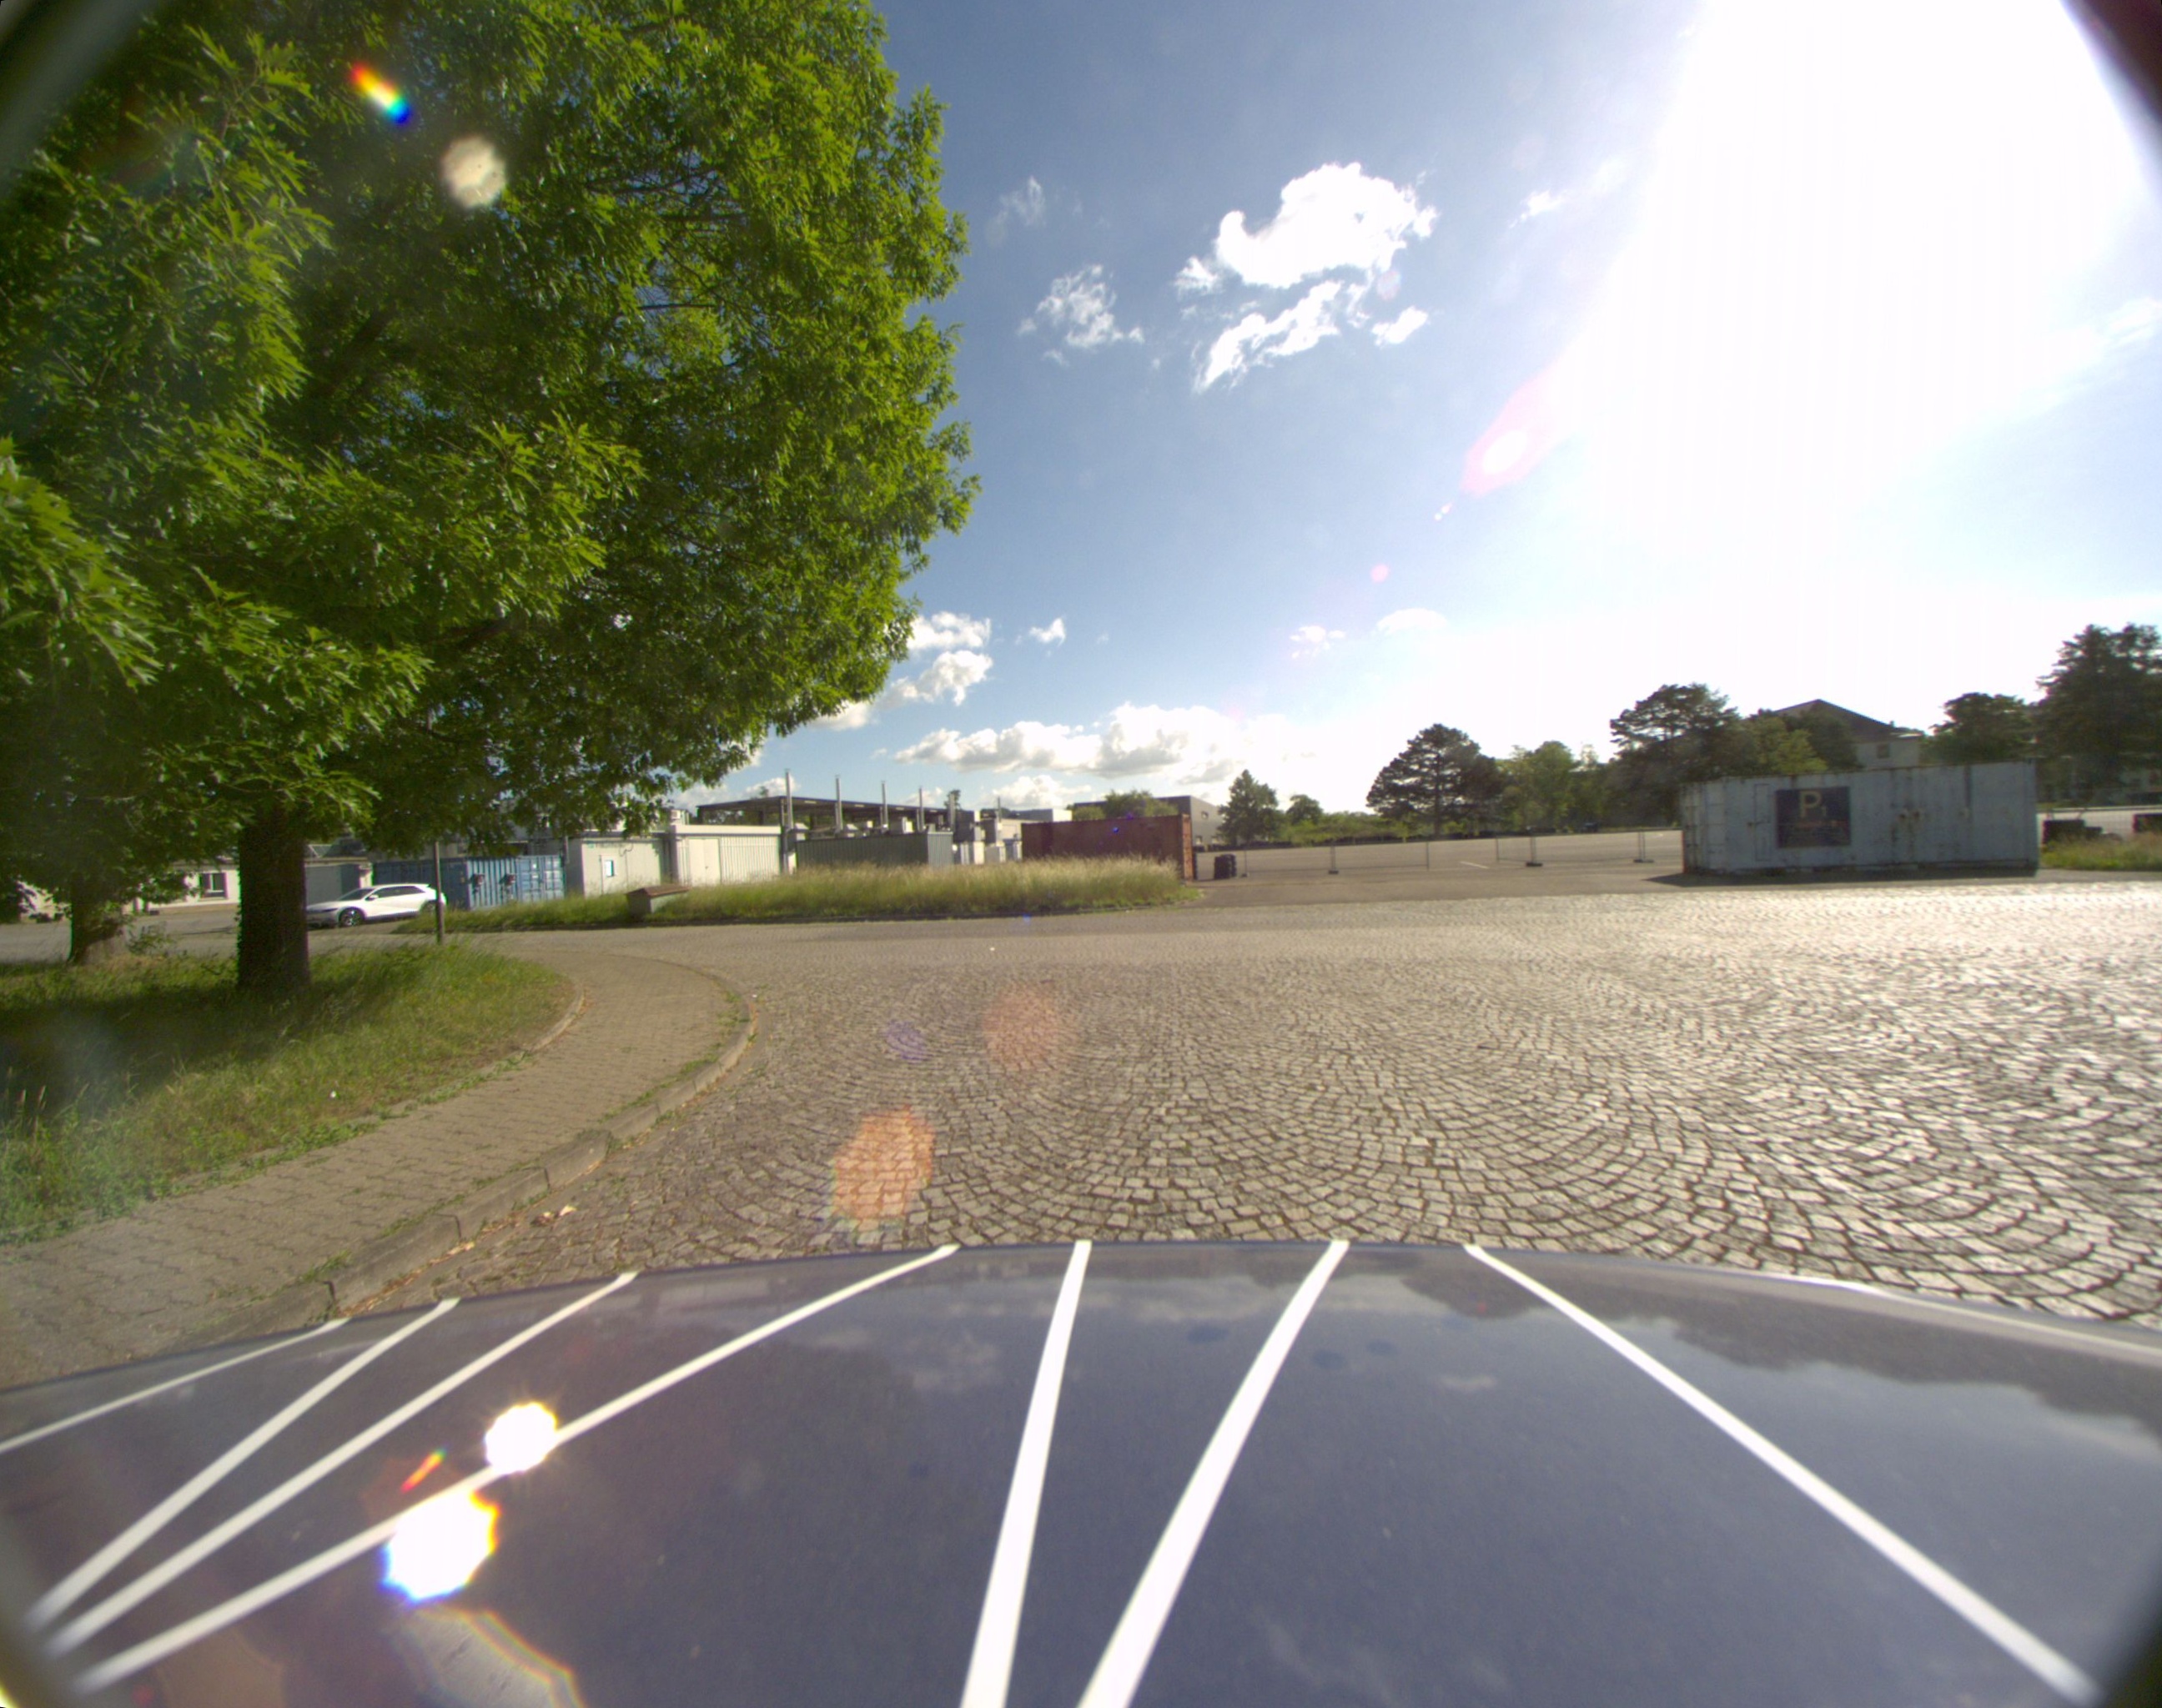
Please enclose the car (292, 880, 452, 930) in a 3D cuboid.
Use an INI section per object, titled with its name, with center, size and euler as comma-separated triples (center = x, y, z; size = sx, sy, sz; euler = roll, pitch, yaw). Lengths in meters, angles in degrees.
[car]
center = -29.543, 2.084, 31.894
size = 1.821, 1.584, 4.523
euler = -4, 1, 15
